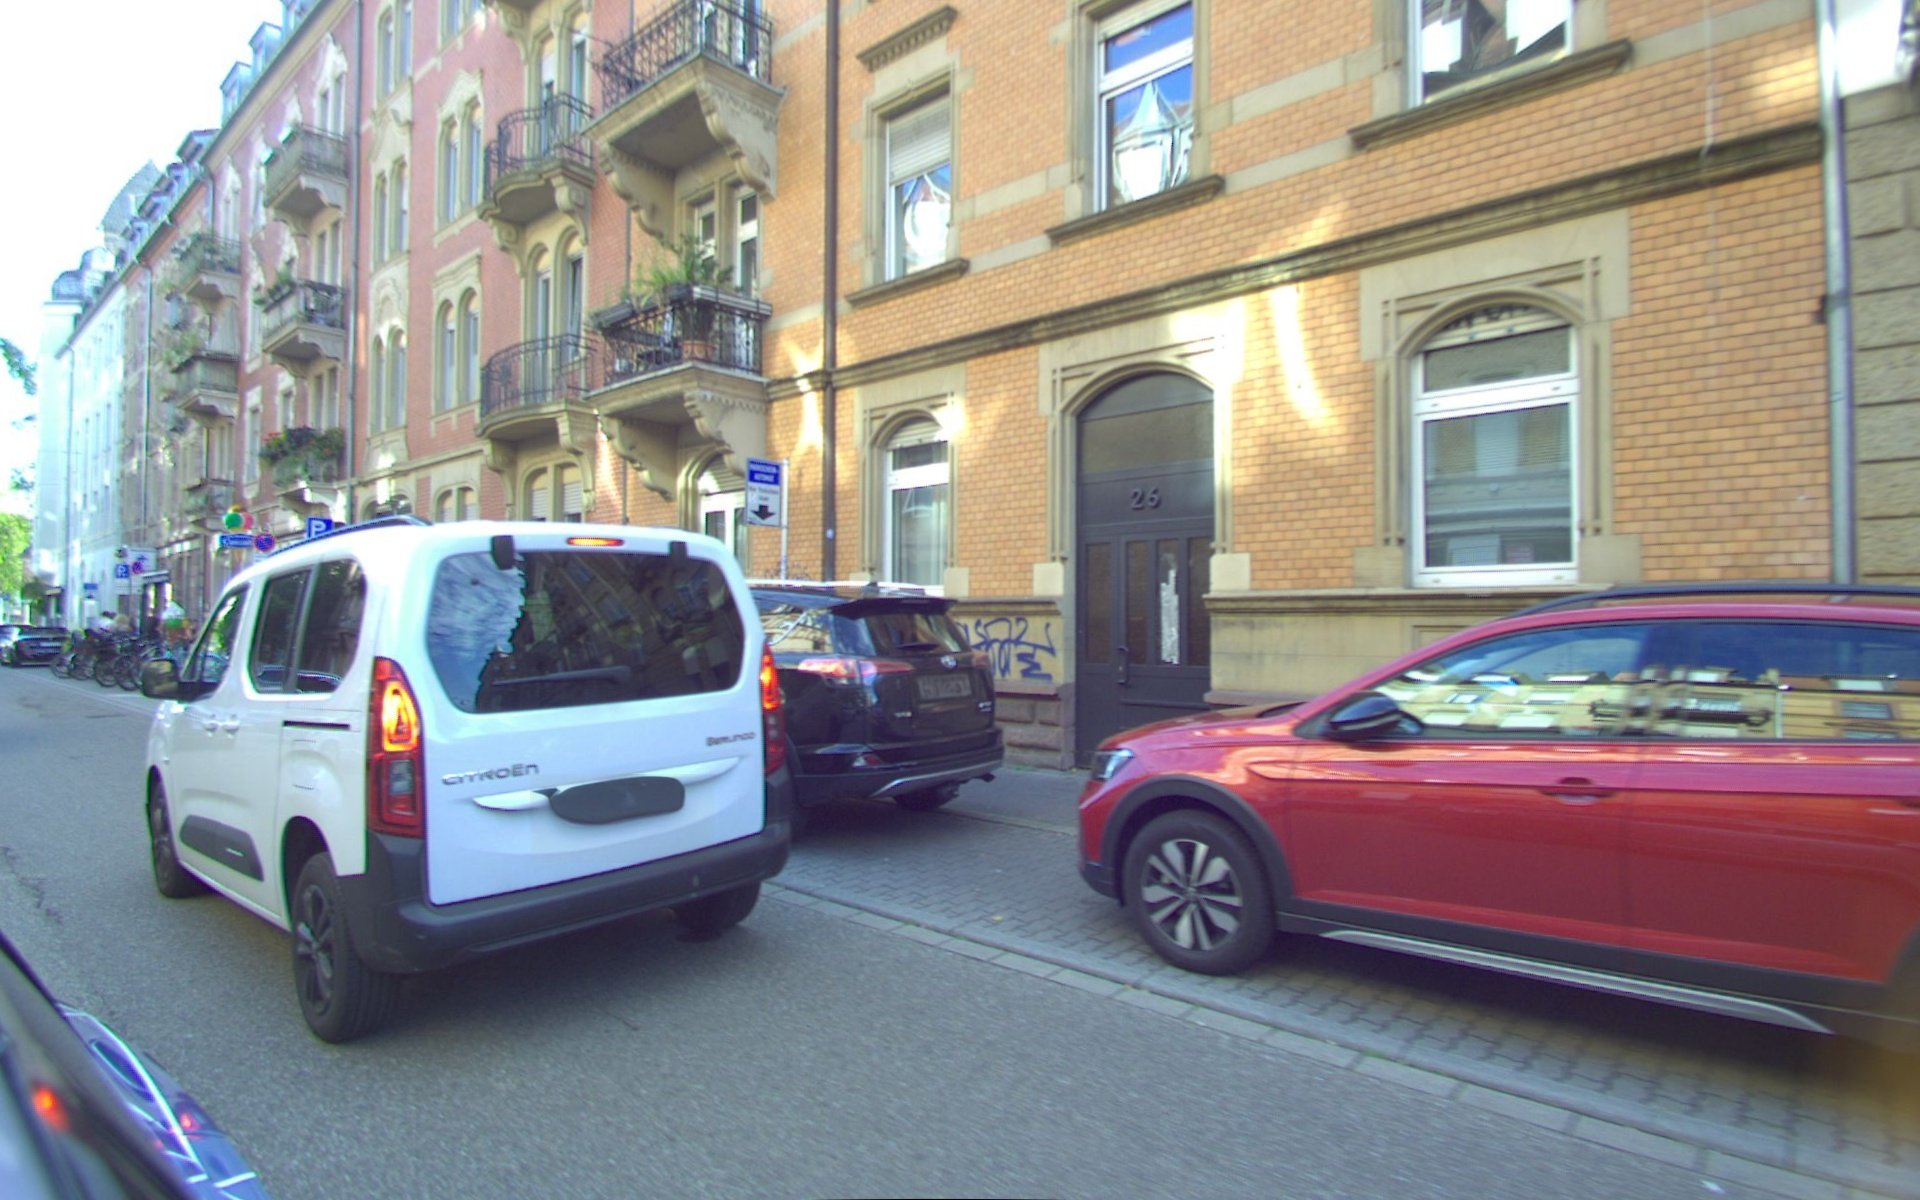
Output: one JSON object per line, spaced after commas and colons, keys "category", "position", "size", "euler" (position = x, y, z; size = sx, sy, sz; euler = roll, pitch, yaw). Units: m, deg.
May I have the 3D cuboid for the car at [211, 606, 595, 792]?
{"category": "car", "position": [-6.259, 0.903, 11.049], "size": [5.257, 1.590, 1.807], "euler": [-1, -1, 39]}

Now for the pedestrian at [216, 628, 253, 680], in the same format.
{"category": "pedestrian", "position": [-18.974, 1.410, 26.472], "size": [0.439, 1.323, 0.710], "euler": [-2, -1, 38]}

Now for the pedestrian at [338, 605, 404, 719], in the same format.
{"category": "pedestrian", "position": [-8.908, 0.919, 15.319], "size": [0.545, 1.674, 0.679], "euler": [-1, -1, 12]}

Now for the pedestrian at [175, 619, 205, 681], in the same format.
{"category": "pedestrian", "position": [-20.695, 1.331, 27.211], "size": [0.584, 1.629, 0.547], "euler": [-2, -1, 42]}

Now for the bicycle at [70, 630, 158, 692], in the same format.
{"category": "bicycle", "position": [-19.354, 1.375, 23.198], "size": [0.521, 1.332, 1.674], "euler": [-1, -1, 6]}

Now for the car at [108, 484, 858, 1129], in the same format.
{"category": "car", "position": [-2.708, 0.633, 5.111], "size": [4.437, 1.842, 1.897], "euler": [-2, -1, 43]}

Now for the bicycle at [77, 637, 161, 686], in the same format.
{"category": "bicycle", "position": [-20.981, 1.518, 25.286], "size": [0.548, 1.129, 1.735], "euler": [-1, -1, 5]}

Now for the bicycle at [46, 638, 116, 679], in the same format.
{"category": "bicycle", "position": [-25.253, 1.670, 29.085], "size": [1.556, 1.125, 0.375], "euler": [-1, -1, -9]}

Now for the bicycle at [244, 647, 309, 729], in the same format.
{"category": "bicycle", "position": [-10.218, 1.277, 15.175], "size": [0.475, 1.067, 1.911], "euler": [-1, 0, -24]}

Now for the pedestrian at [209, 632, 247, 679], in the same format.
{"category": "pedestrian", "position": [-19.381, 1.456, 26.796], "size": [0.585, 1.206, 0.701], "euler": [-1, -1, 38]}

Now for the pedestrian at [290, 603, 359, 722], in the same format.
{"category": "pedestrian", "position": [-9.393, 0.915, 14.970], "size": [0.660, 1.722, 0.564], "euler": [-1, -1, 7]}

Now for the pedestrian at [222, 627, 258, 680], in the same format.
{"category": "pedestrian", "position": [-18.650, 1.372, 26.218], "size": [0.372, 1.323, 0.694], "euler": [-2, -1, 38]}

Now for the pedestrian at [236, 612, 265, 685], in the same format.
{"category": "pedestrian", "position": [-16.981, 1.146, 24.234], "size": [0.556, 1.709, 0.649], "euler": [0, -1, -33]}

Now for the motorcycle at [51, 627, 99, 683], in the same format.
{"category": "motorcycle", "position": [-23.594, 1.440, 27.021], "size": [0.697, 1.395, 2.029], "euler": [0, -1, -33]}

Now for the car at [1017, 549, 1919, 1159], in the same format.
{"category": "car", "position": [2.558, 0.683, 3.825], "size": [4.425, 1.556, 1.972], "euler": [-1, -2, 41]}

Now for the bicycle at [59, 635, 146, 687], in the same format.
{"category": "bicycle", "position": [-21.570, 1.509, 25.509], "size": [0.583, 1.209, 1.788], "euler": [-1, -1, 5]}

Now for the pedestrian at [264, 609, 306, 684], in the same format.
{"category": "pedestrian", "position": [-15.812, 1.071, 23.701], "size": [0.763, 1.709, 0.656], "euler": [-2, -1, 42]}

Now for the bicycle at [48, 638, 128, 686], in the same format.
{"category": "bicycle", "position": [-22.168, 1.556, 25.761], "size": [0.583, 1.129, 1.568], "euler": [-1, -1, 5]}

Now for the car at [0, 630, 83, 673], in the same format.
{"category": "car", "position": [-31.465, 1.697, 34.415], "size": [5.112, 1.361, 1.793], "euler": [-1, -2, 41]}

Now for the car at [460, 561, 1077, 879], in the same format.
{"category": "car", "position": [-1.699, 0.718, 7.670], "size": [4.888, 1.694, 1.855], "euler": [-2, -2, 39]}

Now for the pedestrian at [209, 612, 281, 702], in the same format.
{"category": "pedestrian", "position": [-13.839, 1.079, 19.585], "size": [0.826, 1.674, 0.903], "euler": [-2, -1, 34]}

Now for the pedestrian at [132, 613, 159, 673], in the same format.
{"category": "pedestrian", "position": [-24.051, 1.258, 29.892], "size": [0.596, 1.765, 0.727], "euler": [0, -1, -38]}

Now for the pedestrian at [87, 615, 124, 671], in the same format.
{"category": "pedestrian", "position": [-28.561, 1.416, 33.816], "size": [0.750, 1.832, 0.668], "euler": [-1, -1, -18]}

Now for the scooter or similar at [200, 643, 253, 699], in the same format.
{"category": "scooter or similar", "position": [-14.588, 1.391, 20.122], "size": [0.920, 1.063, 0.600], "euler": [-2, -1, 37]}

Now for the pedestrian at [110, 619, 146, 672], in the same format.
{"category": "pedestrian", "position": [-28.463, 1.544, 34.638], "size": [0.750, 1.773, 0.668], "euler": [-1, -1, -18]}

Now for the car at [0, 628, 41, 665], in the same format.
{"category": "car", "position": [-38.785, 1.866, 41.020], "size": [4.007, 1.426, 1.653], "euler": [-1, -1, 39]}

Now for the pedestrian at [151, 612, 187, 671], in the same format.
{"category": "pedestrian", "position": [-24.237, 1.276, 31.024], "size": [0.678, 1.773, 0.668], "euler": [-1, -1, -18]}

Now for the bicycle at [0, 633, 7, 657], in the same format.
{"category": "bicycle", "position": [-48.134, 2.245, 49.763], "size": [0.688, 1.184, 1.847], "euler": [-2, -1, 43]}

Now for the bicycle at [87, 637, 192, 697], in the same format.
{"category": "bicycle", "position": [-17.656, 1.409, 21.854], "size": [0.795, 1.167, 2.275], "euler": [-1, -1, -11]}

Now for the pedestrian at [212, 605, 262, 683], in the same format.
{"category": "pedestrian", "position": [-17.792, 1.072, 24.907], "size": [0.659, 1.868, 0.761], "euler": [-1, -1, 11]}

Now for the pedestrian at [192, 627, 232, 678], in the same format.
{"category": "pedestrian", "position": [-20.023, 1.399, 27.093], "size": [0.605, 1.323, 0.716], "euler": [-2, -1, 38]}

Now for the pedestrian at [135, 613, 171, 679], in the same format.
{"category": "pedestrian", "position": [-23.601, 1.339, 29.603], "size": [0.637, 1.906, 0.603], "euler": [-1, -1, -18]}

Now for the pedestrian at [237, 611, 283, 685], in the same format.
{"category": "pedestrian", "position": [-16.403, 1.117, 23.716], "size": [0.579, 1.709, 0.663], "euler": [-1, -1, 11]}

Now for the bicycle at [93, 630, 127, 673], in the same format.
{"category": "bicycle", "position": [-22.983, 1.370, 27.382], "size": [0.570, 1.098, 1.742], "euler": [0, -1, -35]}

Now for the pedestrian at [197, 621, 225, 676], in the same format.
{"category": "pedestrian", "position": [-20.668, 1.333, 27.930], "size": [0.596, 1.481, 0.727], "euler": [0, -1, -38]}
